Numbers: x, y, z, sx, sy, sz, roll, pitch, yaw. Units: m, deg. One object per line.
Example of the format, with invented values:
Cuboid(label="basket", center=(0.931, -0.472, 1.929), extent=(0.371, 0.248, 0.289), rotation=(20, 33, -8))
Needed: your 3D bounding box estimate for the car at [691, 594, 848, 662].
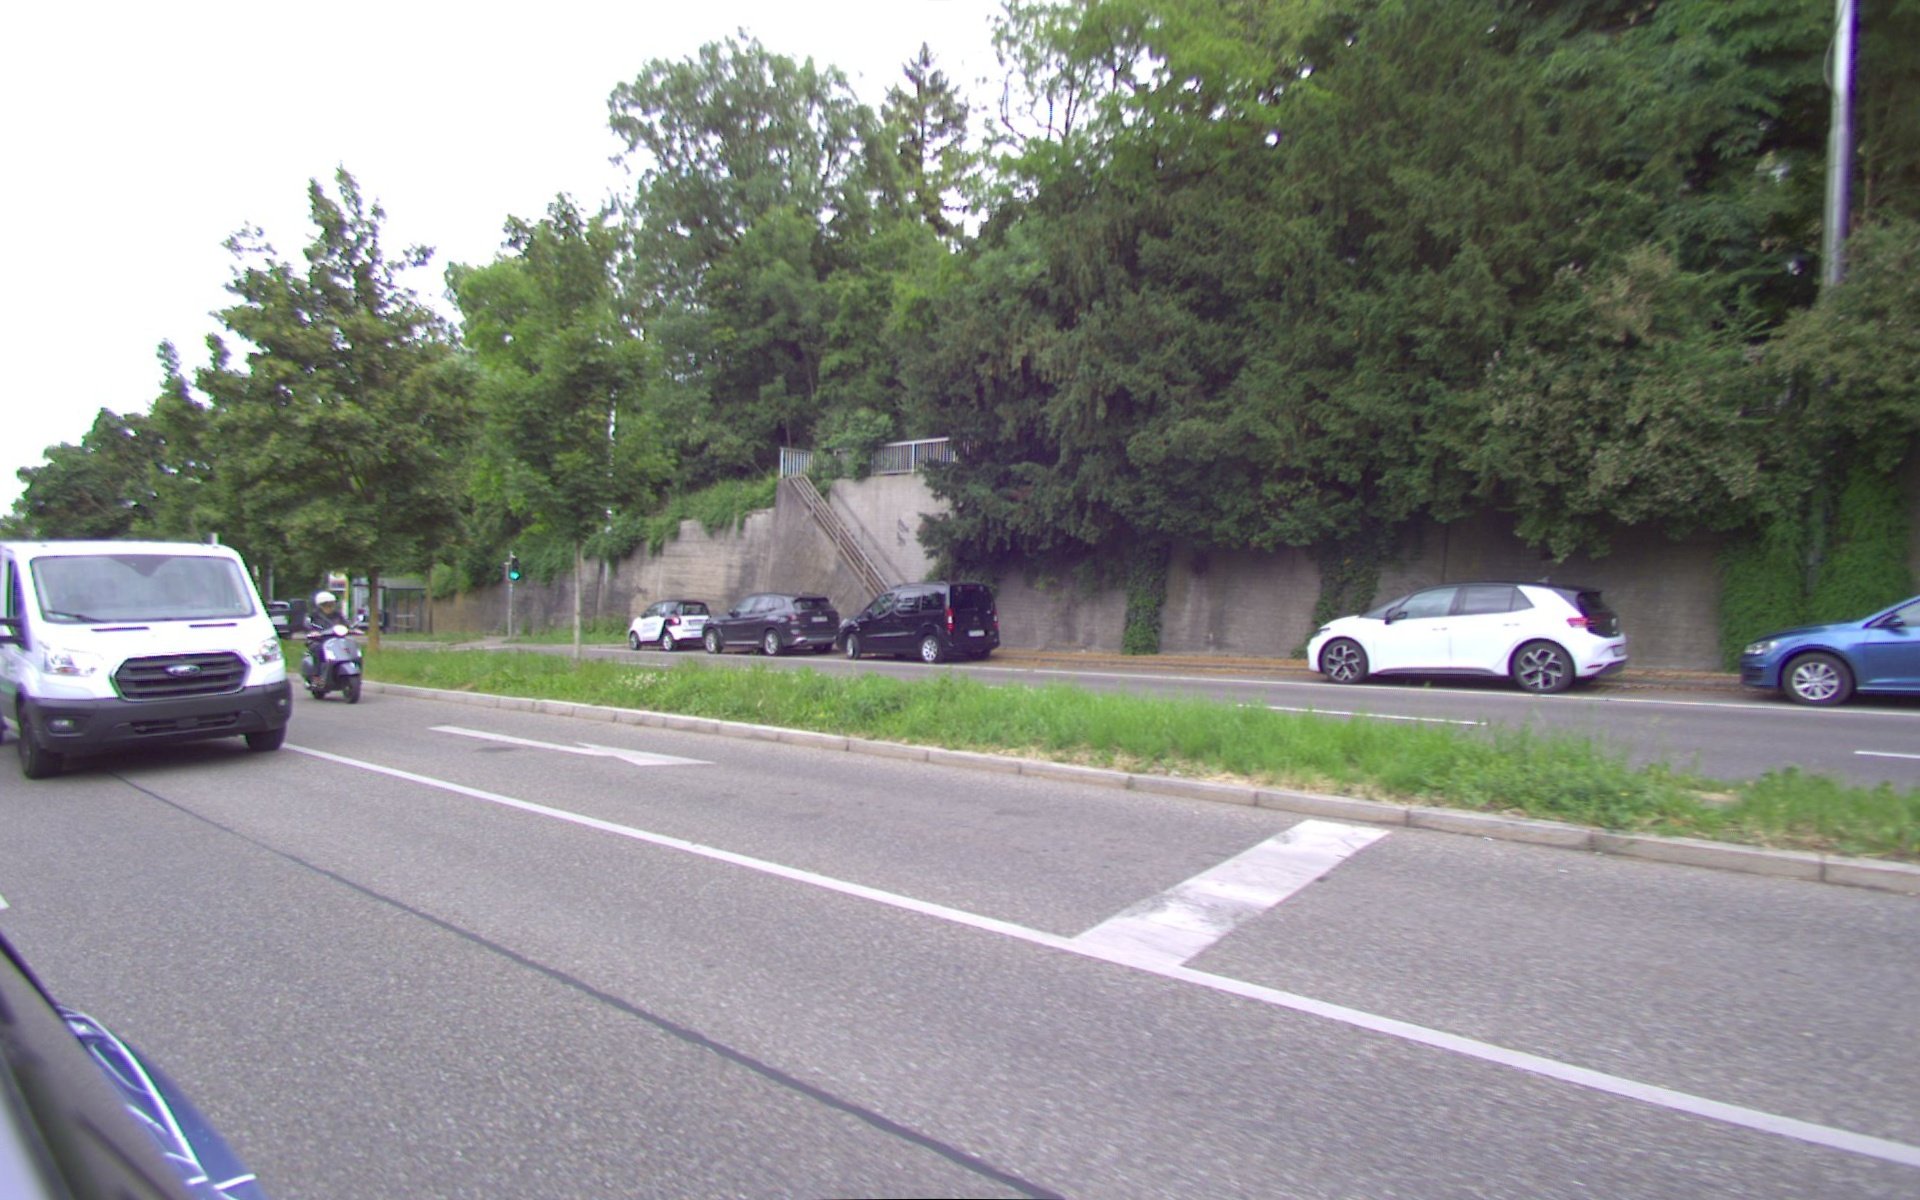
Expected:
Cuboid(label="car", center=(-5.269, 0.728, 27.666), extent=(4.534, 1.669, 1.947), rotation=(-1, 1, 45))

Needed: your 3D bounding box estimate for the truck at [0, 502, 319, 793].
Cuboid(label="truck", center=(-9.313, 0.393, 10.884), extent=(6.322, 2.338, 2.056), rotation=(-1, 0, 38))

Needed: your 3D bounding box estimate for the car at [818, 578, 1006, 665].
Cuboid(label="car", center=(-1.218, 0.502, 23.871), extent=(4.489, 1.857, 1.760), rotation=(-2, 0, 44))

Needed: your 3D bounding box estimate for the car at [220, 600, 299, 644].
Cuboid(label="car", center=(-33.659, 1.047, 48.564), extent=(5.019, 1.972, 1.918), rotation=(-1, 0, 41))

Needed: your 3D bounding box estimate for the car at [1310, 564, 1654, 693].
Cuboid(label="car", center=(7.604, 0.391, 15.008), extent=(4.172, 1.641, 1.760), rotation=(-2, 0, 45))

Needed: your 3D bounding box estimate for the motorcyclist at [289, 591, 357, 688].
Cuboid(label="motorcyclist", center=(-9.673, 0.586, 15.377), extent=(0.722, 1.429, 0.675), rotation=(-2, -1, 40))

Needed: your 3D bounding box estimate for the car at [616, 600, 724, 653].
Cuboid(label="car", center=(-9.007, 0.830, 31.392), extent=(3.095, 1.510, 1.762), rotation=(-2, 0, 40))

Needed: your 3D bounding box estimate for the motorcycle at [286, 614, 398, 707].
Cuboid(label="motorcycle", center=(-9.396, 0.883, 15.352), extent=(2.043, 1.309, 0.819), rotation=(-1, -1, 39))

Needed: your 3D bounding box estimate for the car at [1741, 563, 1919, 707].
Cuboid(label="car", center=(11.319, 0.332, 10.928), extent=(1.691, 1.540, 4.307), rotation=(-2, 0, -41))
